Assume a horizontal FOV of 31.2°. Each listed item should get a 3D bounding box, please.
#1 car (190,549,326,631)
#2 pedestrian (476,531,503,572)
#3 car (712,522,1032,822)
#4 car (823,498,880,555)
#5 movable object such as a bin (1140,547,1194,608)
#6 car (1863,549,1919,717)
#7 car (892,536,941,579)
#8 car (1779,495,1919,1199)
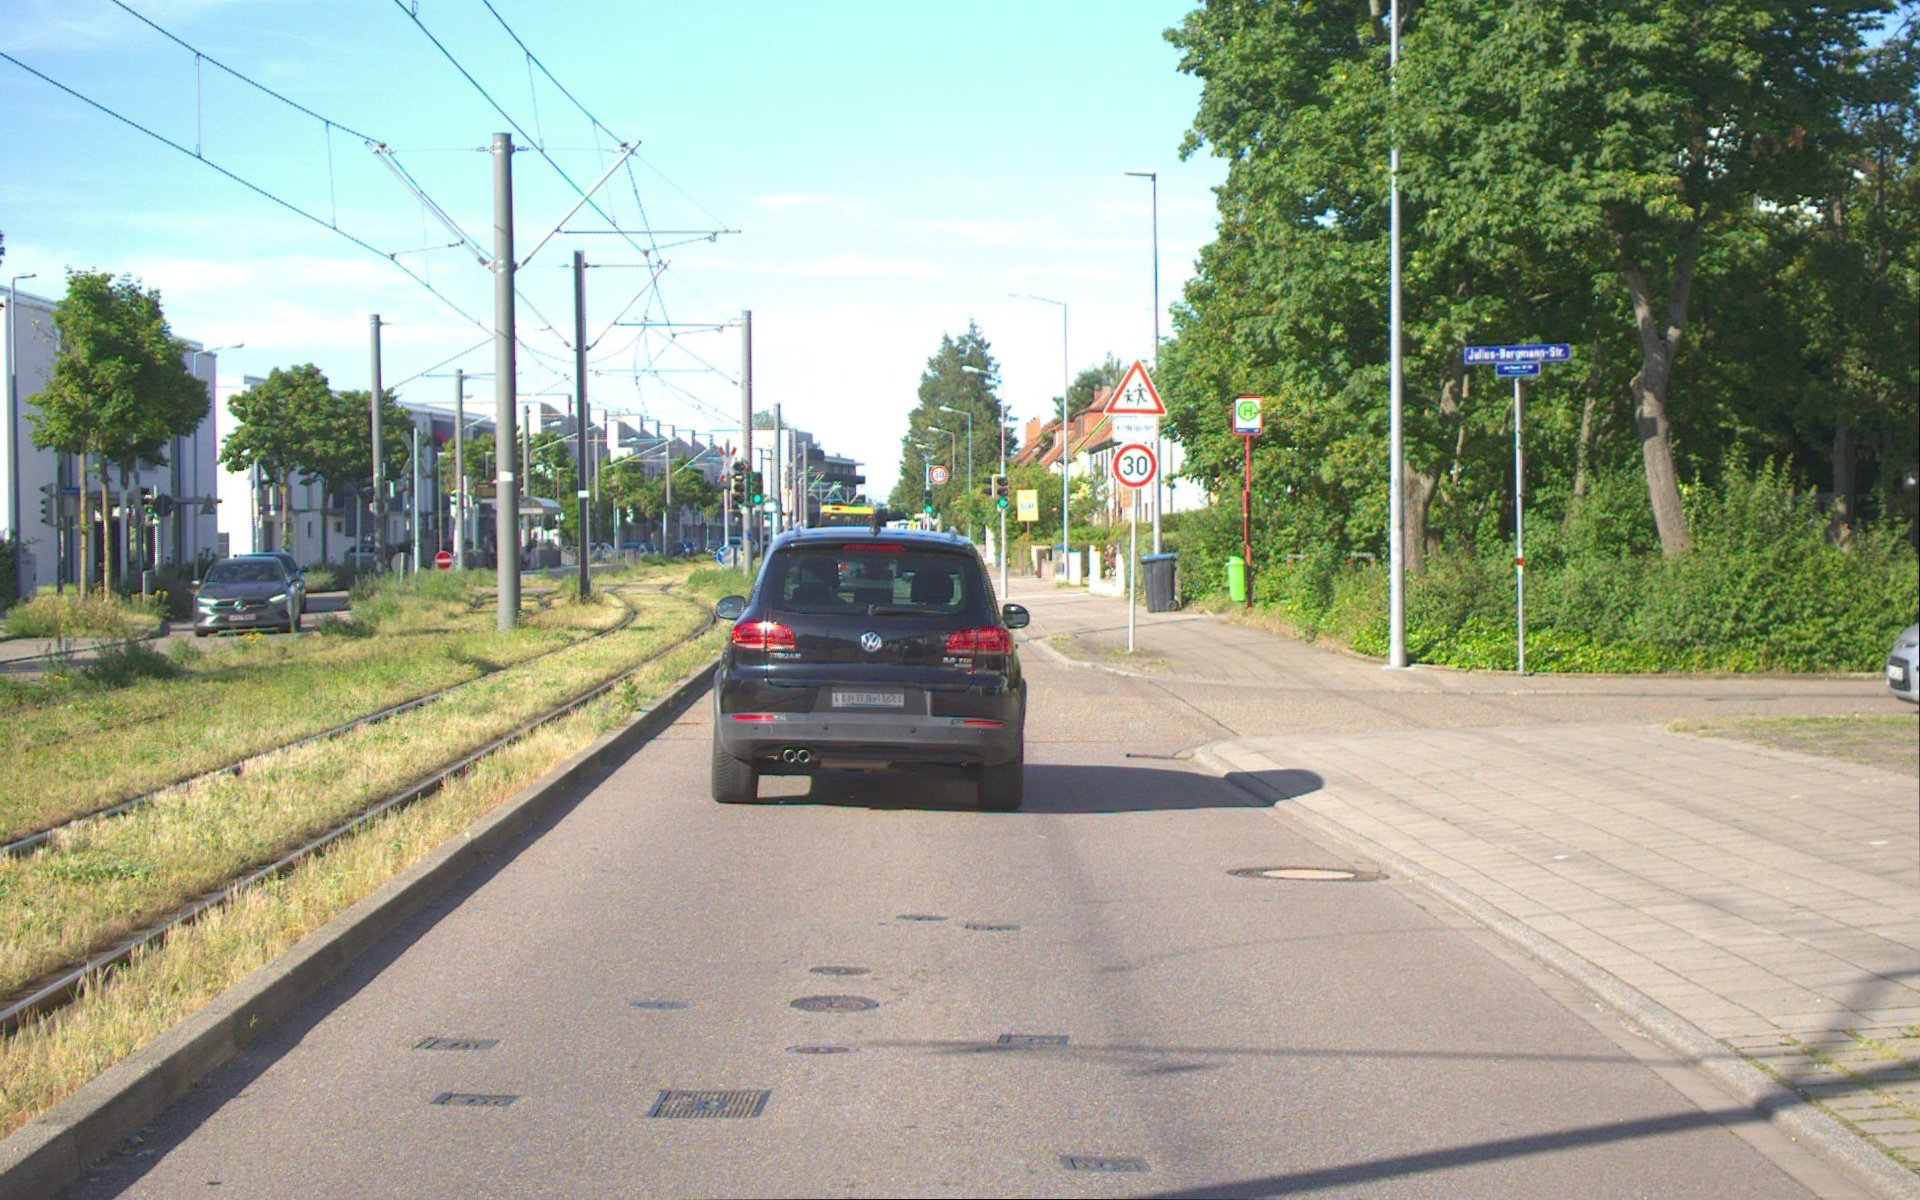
[{"bbox_3d":[-12.993,-0.211,63.834,1.688,1.384,4.388,-2,1,-2],"label":"car"},{"bbox_3d":[-18.179,-1.865,132.839,0.881,1.581,0.628,-1,1,-19],"label":"pedestrian"},{"bbox_3d":[-0.609,0.375,21.358,1.775,1.664,4.001,1,1,-3],"label":"car"},{"bbox_3d":[-4.965,-3.381,158.089,2.394,2.556,5.530,-1,1,0],"label":"car"},{"bbox_3d":[3.851,-0.425,64.110,0.976,1.107,1.170,-1,1,2],"label":"movable object such as a bin"},{"bbox_3d":[10.472,0.274,32.173,3.594,1.525,1.647,-1,0,1],"label":"car"},{"bbox_3d":[-1.765,-1.709,137.871,1.775,1.664,4.001,-1,1,-3],"label":"car"},{"bbox_3d":[3.098,0.577,6.311,1.791,1.623,4.861,-3,1,-2],"label":"car"}]
